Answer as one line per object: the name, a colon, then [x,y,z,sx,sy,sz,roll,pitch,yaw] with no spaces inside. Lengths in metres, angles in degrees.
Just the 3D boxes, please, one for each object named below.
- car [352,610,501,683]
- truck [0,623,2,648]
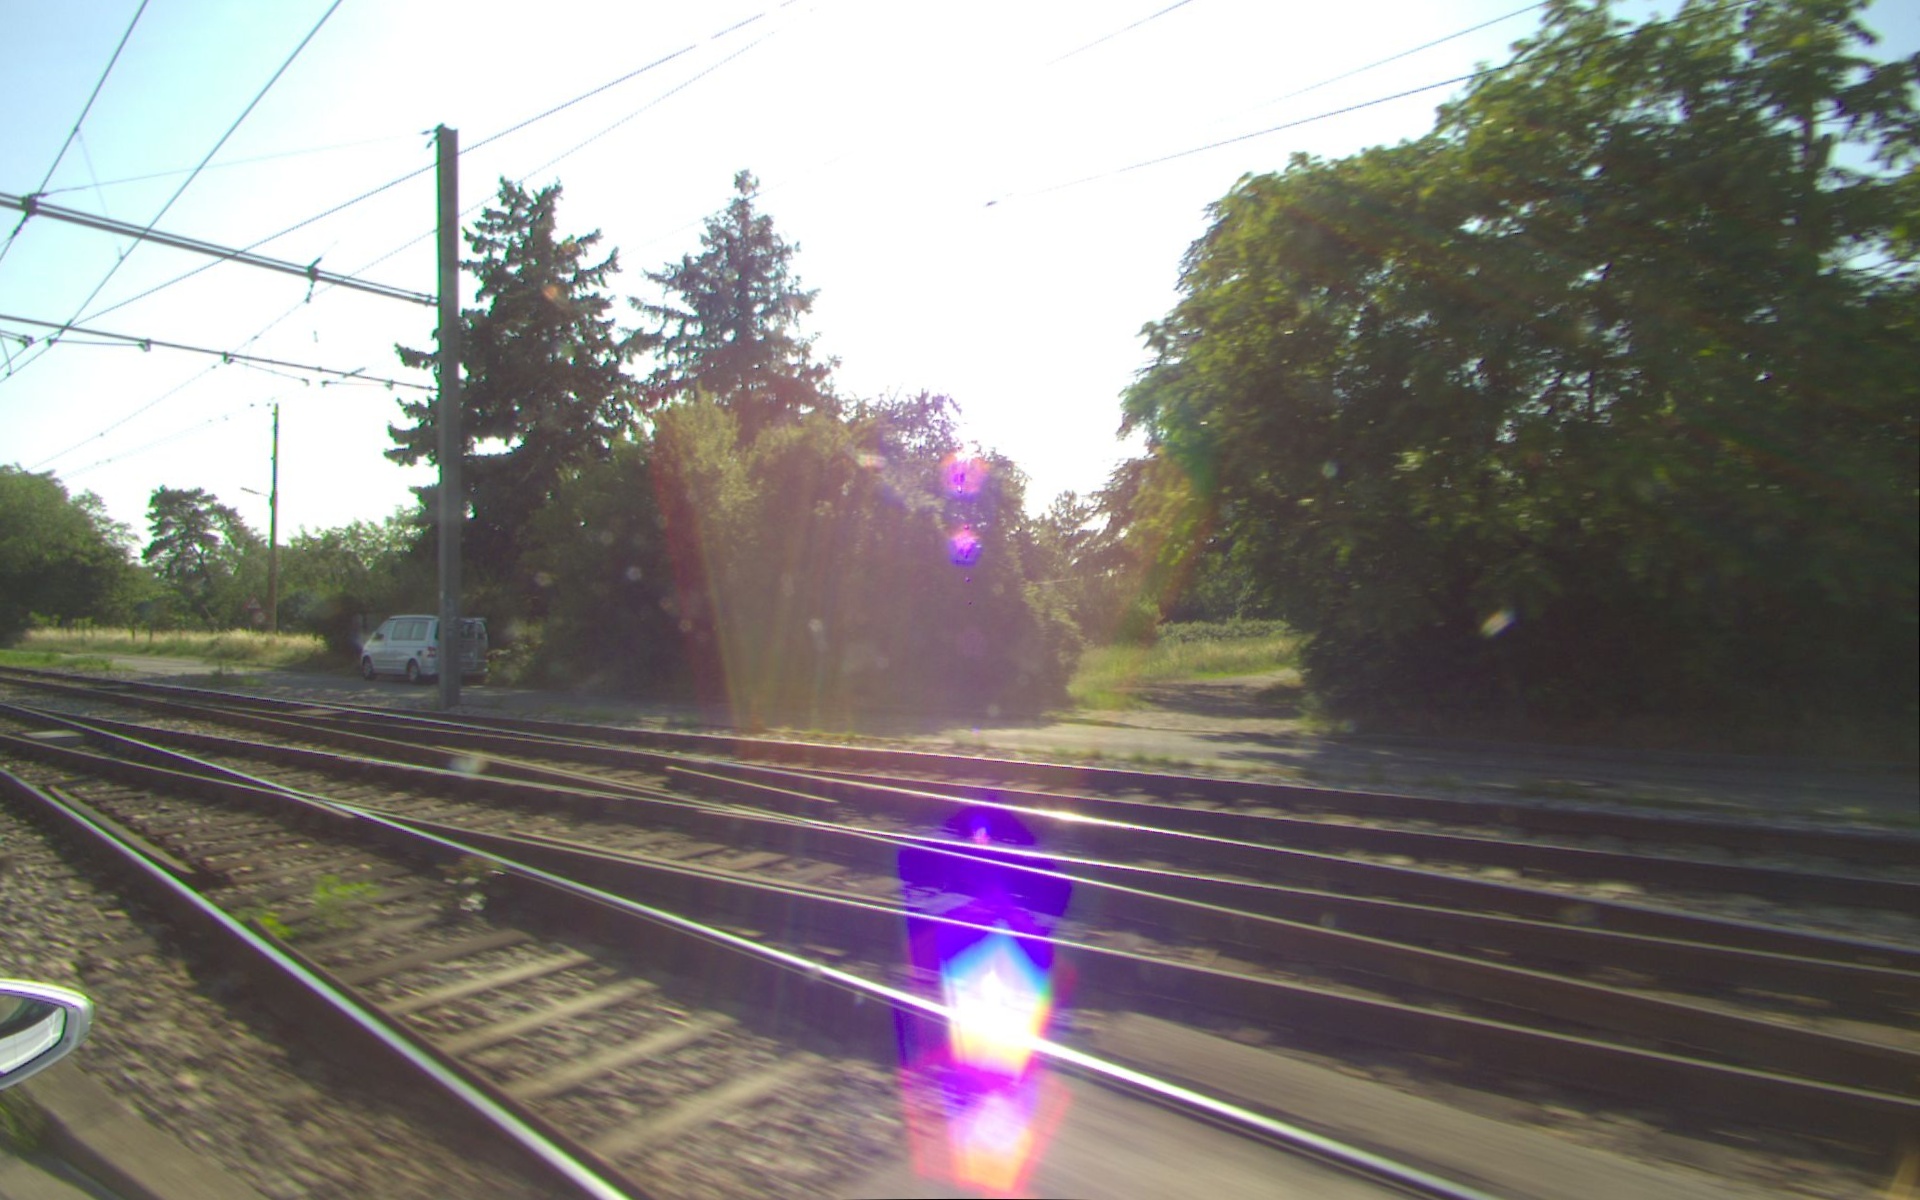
car: [-16.112,1.400,30.128,5.002,2.029,1.988,-1,-4,37]
truck: [-74.859,2.680,76.044,5.854,1.842,2.197,-1,-2,37]
